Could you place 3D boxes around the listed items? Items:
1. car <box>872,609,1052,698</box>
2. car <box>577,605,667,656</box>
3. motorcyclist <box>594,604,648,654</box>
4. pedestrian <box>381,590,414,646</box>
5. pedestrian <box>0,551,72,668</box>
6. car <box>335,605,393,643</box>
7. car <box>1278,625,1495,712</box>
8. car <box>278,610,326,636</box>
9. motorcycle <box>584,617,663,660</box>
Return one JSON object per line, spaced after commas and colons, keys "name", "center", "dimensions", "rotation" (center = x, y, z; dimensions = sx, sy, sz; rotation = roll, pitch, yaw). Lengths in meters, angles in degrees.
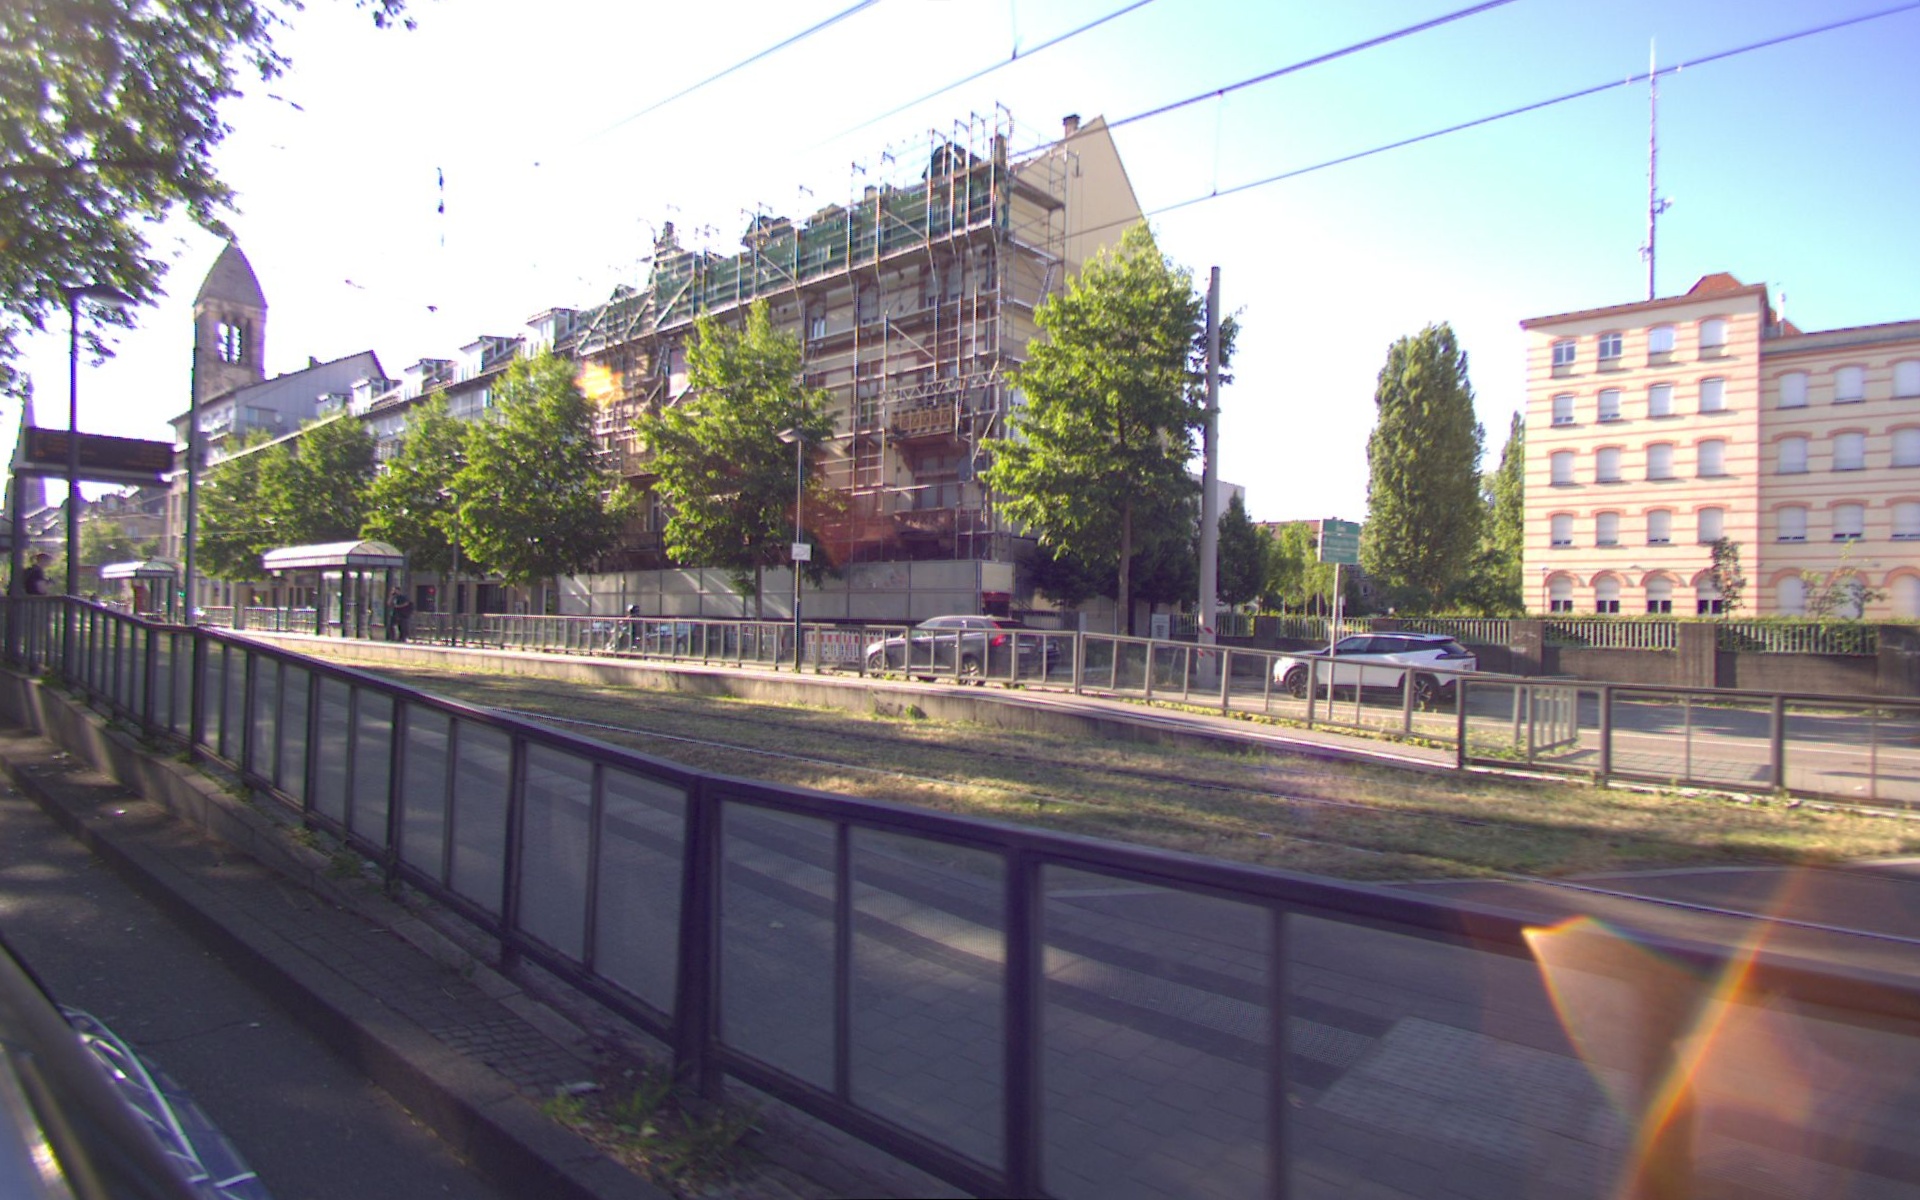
{"name": "car", "center": [-0.022, 1.156, 23.582], "dimensions": [4.027, 1.819, 1.844], "rotation": [0, 0, 43]}
{"name": "car", "center": [-14.392, 1.259, 43.035], "dimensions": [4.000, 2.029, 1.972], "rotation": [0, 0, 43]}
{"name": "motorcyclist", "center": [-9.211, 0.781, 27.522], "dimensions": [1.274, 1.309, 0.810], "rotation": [0, 0, 36]}
{"name": "pedestrian", "center": [-17.354, 0.547, 31.228], "dimensions": [0.654, 1.703, 0.672], "rotation": [0, 0, 39]}
{"name": "pedestrian", "center": [-13.900, 0.139, 15.202], "dimensions": [0.678, 1.703, 0.749], "rotation": [0, 0, 41]}
{"name": "car", "center": [-36.672, 1.440, 62.246], "dimensions": [3.783, 2.183, 1.920], "rotation": [0, 0, 41]}
{"name": "car", "center": [9.264, 1.419, 22.210], "dimensions": [4.067, 1.598, 1.702], "rotation": [0, 0, 45]}
{"name": "car", "center": [-45.400, 1.555, 69.829], "dimensions": [3.783, 1.690, 1.788], "rotation": [0, 0, 41]}
{"name": "motorcycle", "center": [-9.158, 1.024, 27.493], "dimensions": [2.397, 1.081, 0.810], "rotation": [0, 0, 36]}
